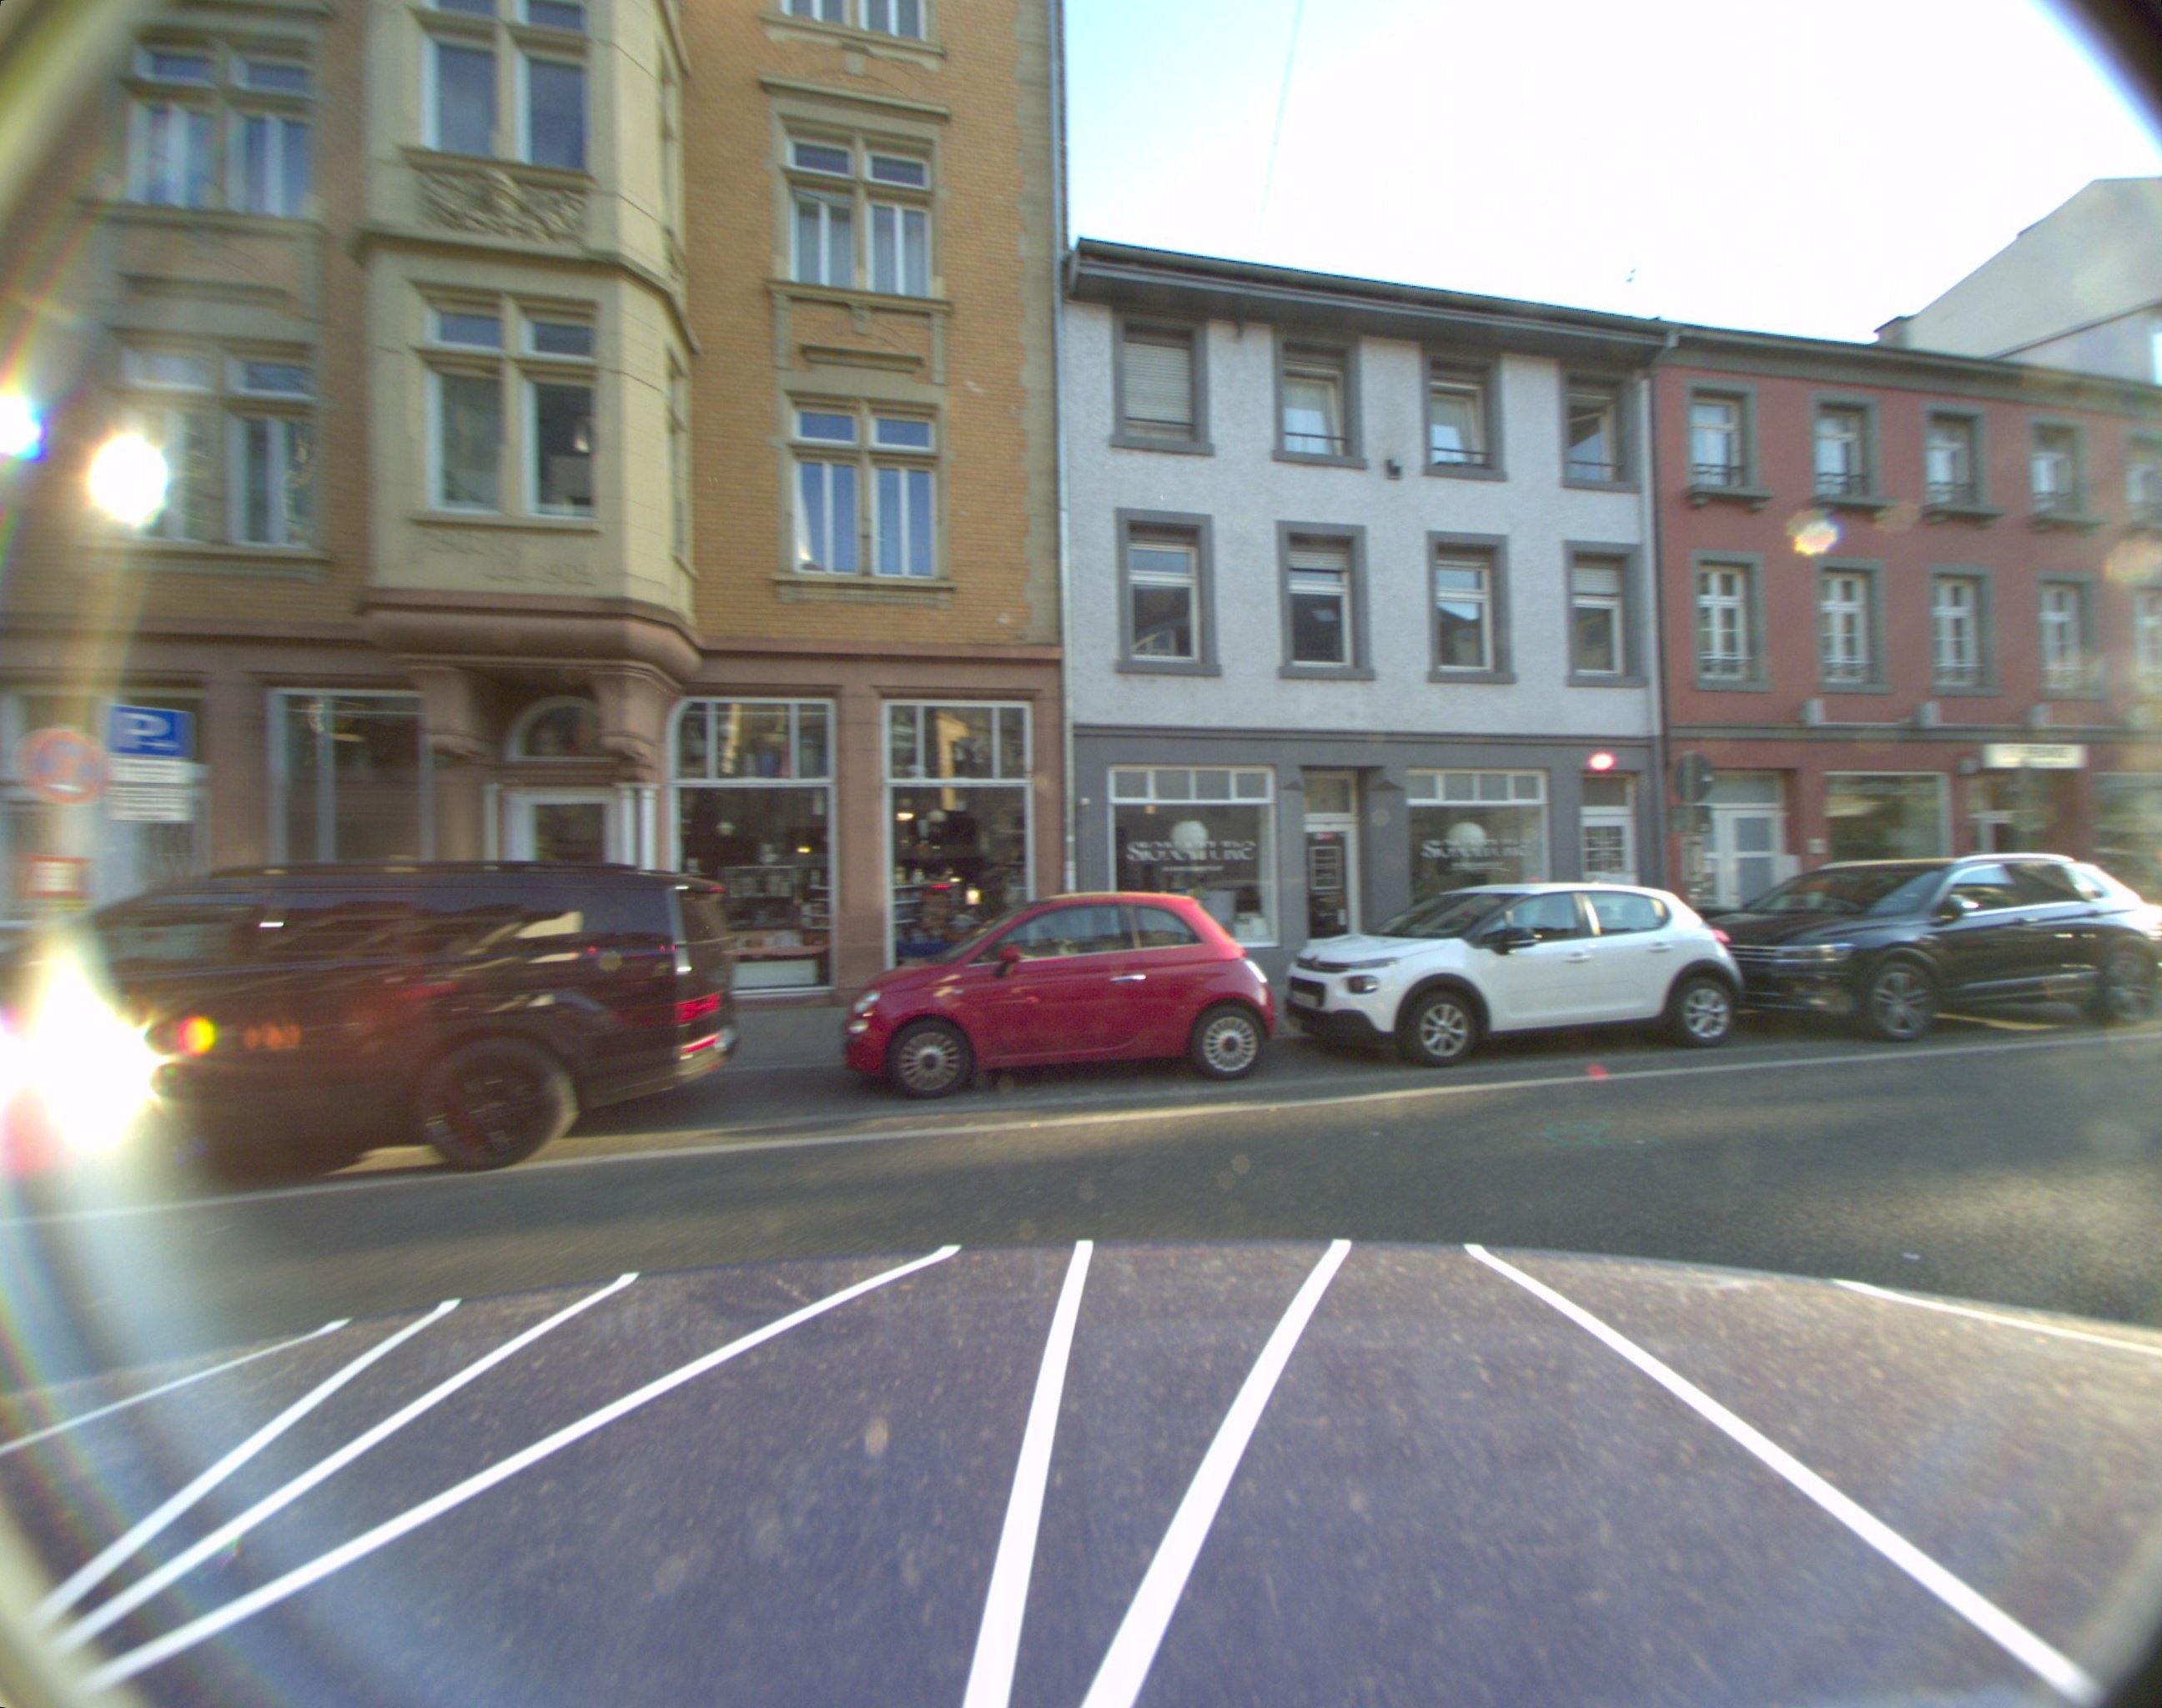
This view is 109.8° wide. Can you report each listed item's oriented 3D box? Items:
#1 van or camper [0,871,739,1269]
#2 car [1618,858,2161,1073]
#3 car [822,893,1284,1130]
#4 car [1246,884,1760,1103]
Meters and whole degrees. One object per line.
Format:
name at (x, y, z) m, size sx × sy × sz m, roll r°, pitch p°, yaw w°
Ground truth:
van or camper at (-4.676, 1.064, 4.659) m, size 4.463 × 1.796 × 1.894 m, roll -1°, pitch -2°, yaw -16°
car at (8.100, 0.973, 7.627) m, size 4.461 × 1.687 × 1.799 m, roll -1°, pitch -3°, yaw -12°
car at (-0.254, 1.162, 6.392) m, size 3.422 × 1.560 × 1.530 m, roll -1°, pitch -2°, yaw -10°
car at (3.739, 1.129, 7.027) m, size 3.935 × 1.563 × 1.666 m, roll -1°, pitch -3°, yaw -10°
